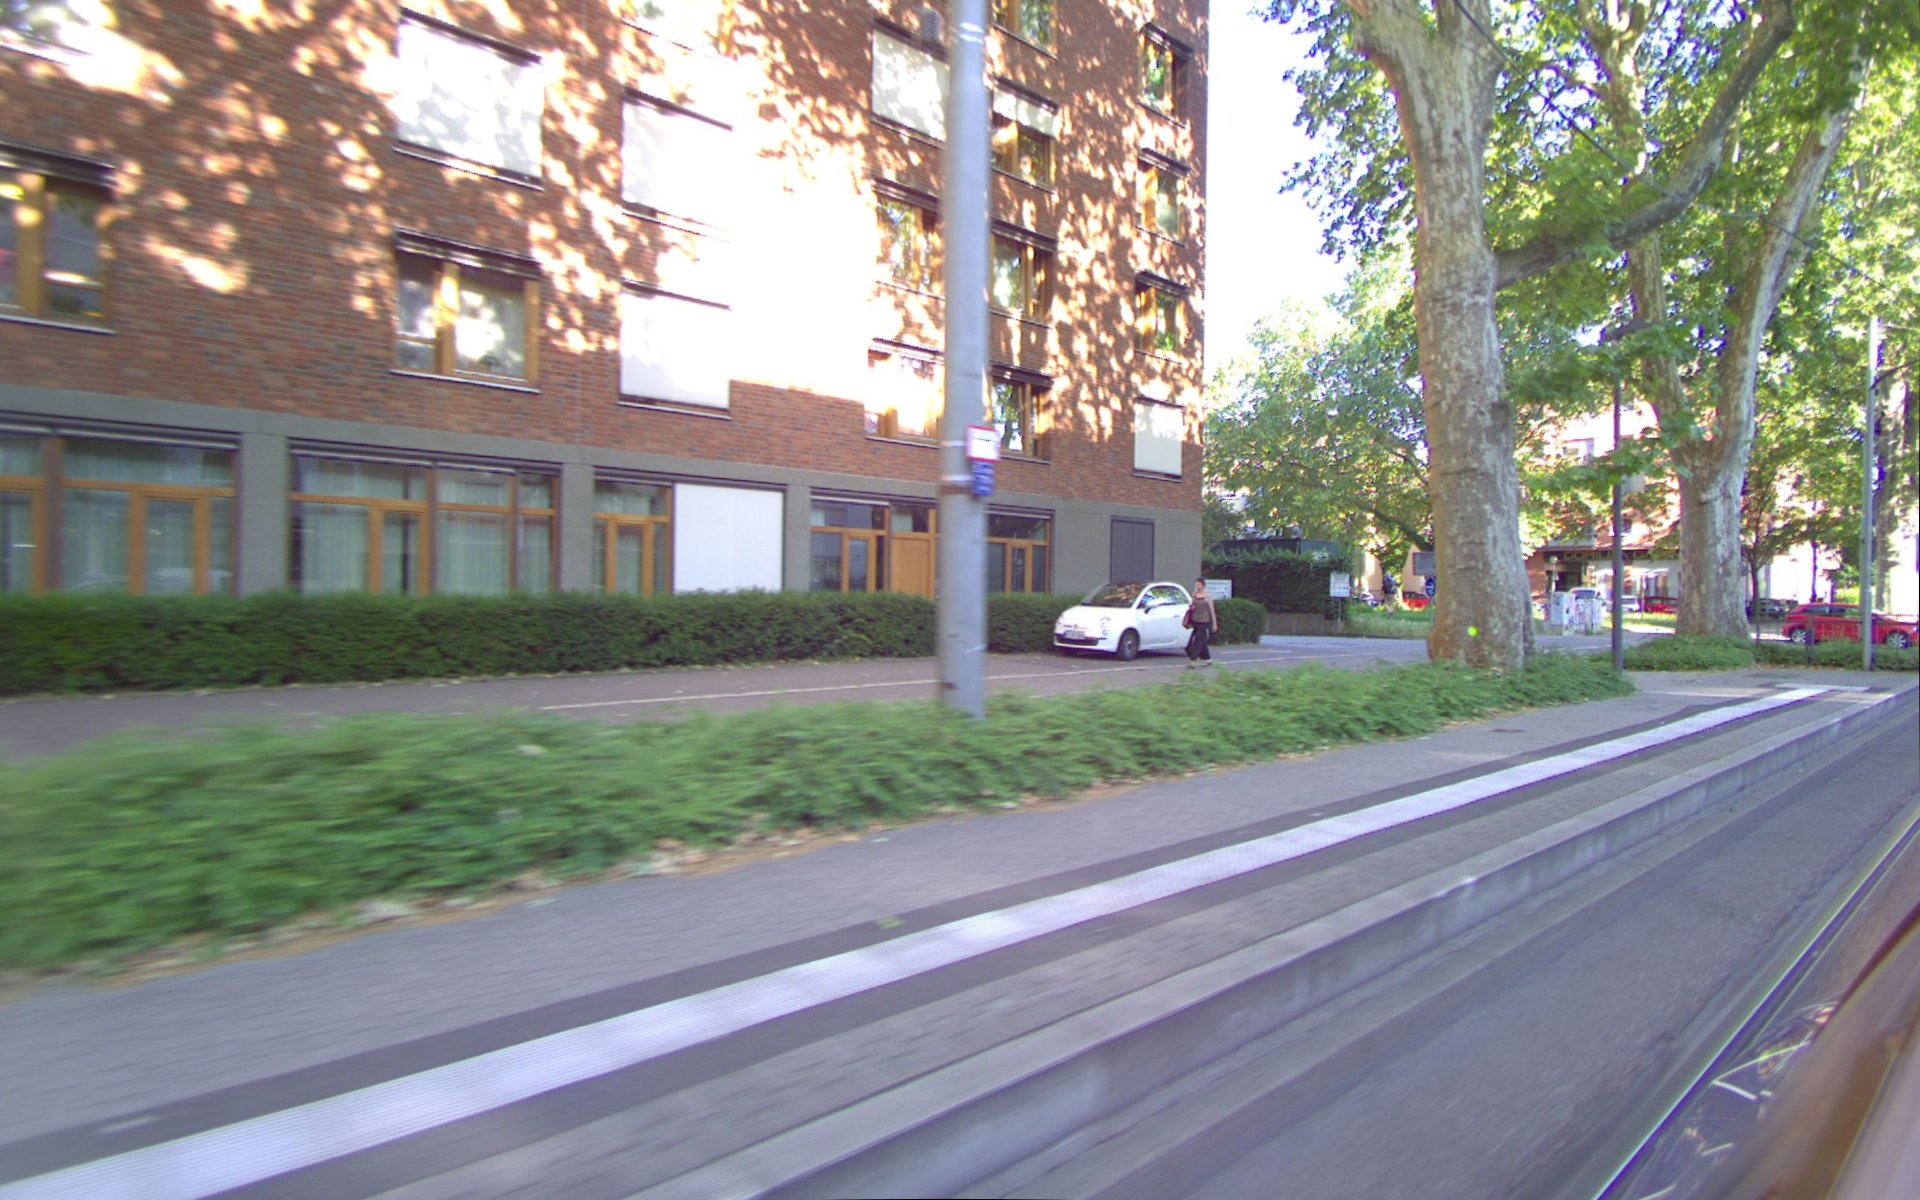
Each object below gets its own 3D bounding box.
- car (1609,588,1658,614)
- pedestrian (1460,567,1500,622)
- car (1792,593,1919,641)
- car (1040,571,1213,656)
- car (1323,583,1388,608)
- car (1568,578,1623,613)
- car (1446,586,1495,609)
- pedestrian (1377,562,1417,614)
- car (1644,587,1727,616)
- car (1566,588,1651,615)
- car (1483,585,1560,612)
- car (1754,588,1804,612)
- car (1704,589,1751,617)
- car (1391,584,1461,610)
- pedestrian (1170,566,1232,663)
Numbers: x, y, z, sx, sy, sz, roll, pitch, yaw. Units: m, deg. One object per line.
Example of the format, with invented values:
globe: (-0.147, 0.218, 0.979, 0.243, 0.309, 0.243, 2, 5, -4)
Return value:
car: (43.913, 0.034, 65.914, 4.503, 1.594, 1.790, 0, 1, -45)
pedestrian: (17.914, -0.205, 34.856, 0.994, 1.833, 0.850, 2, 1, 44)
car: (30.063, 0.531, 33.288, 1.618, 1.441, 3.896, 0, 1, -37)
car: (3.298, 0.217, 19.802, 3.359, 1.514, 1.602, 0, 1, -42)
car: (27.916, -0.325, 71.545, 1.655, 1.601, 3.923, 0, 1, -42)
car: (42.402, -0.317, 67.473, 5.000, 2.211, 1.914, 0, 1, -44)
car: (37.138, -0.208, 73.576, 4.503, 1.594, 1.790, 0, 1, -45)
pedestrian: (16.657, -0.478, 38.544, 0.983, 1.886, 1.000, 6, 4, 44)
car: (40.937, 0.059, 57.125, 1.655, 1.470, 3.543, 0, 1, -42)
car: (38.576, 0.043, 60.259, 1.655, 1.470, 3.923, 0, 1, -42)
car: (35.429, -0.105, 63.895, 1.655, 1.601, 3.923, 0, 1, -42)
car: (53.449, -0.008, 65.993, 4.389, 1.452, 1.752, 0, 2, -41)
car: (47.231, 0.186, 62.220, 1.789, 1.594, 4.505, 2, 1, 44)
car: (31.303, -0.206, 68.098, 1.655, 1.601, 3.923, 0, 1, -42)
pedestrian: (4.336, 0.250, 18.210, 0.820, 1.689, 0.737, 0, 1, -41)
